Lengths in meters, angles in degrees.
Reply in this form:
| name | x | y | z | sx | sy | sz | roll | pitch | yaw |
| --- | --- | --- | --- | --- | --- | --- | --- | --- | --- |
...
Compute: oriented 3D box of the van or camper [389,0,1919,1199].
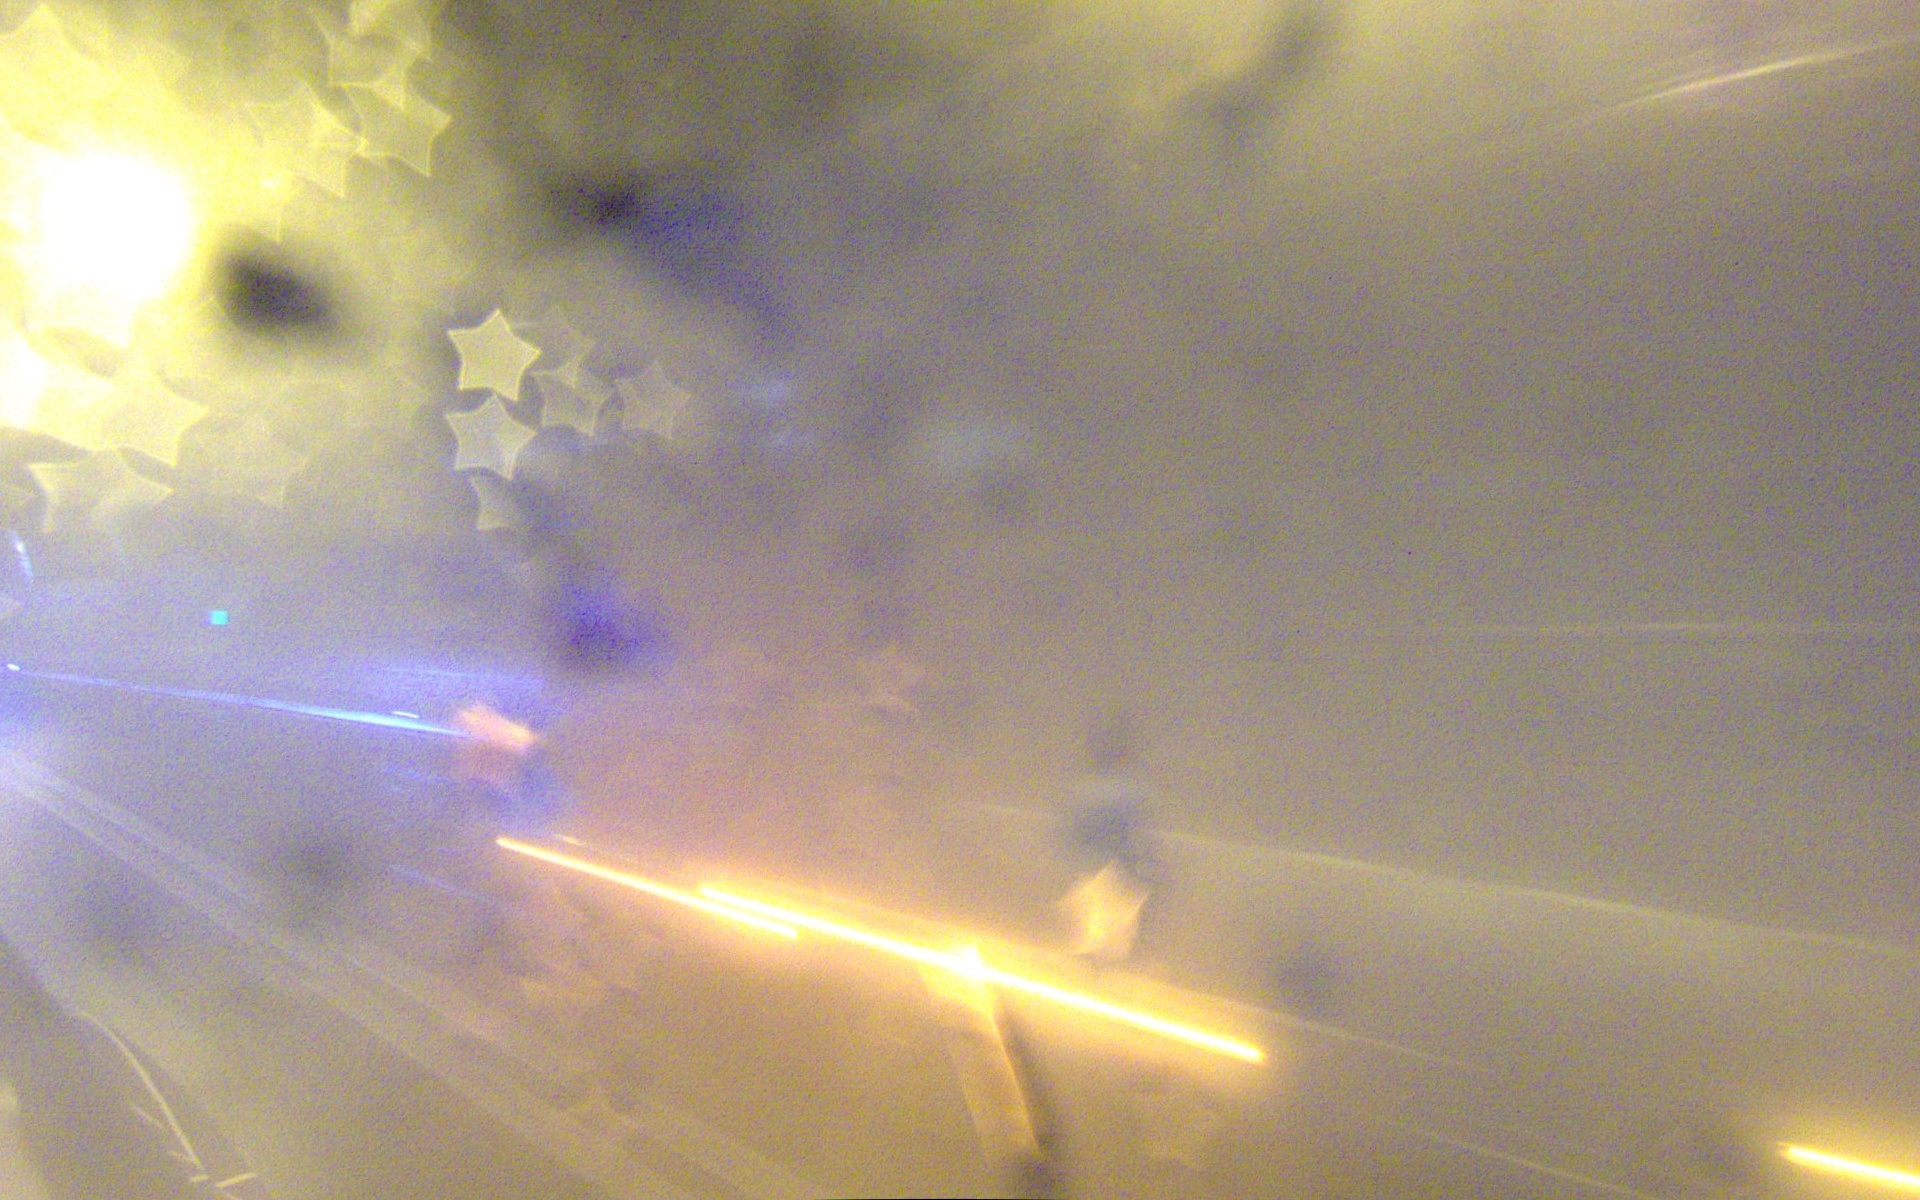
| name | x | y | z | sx | sy | sz | roll | pitch | yaw |
| --- | --- | --- | --- | --- | --- | --- | --- | --- | --- |
| van or camper | 0.556 | -0.121 | 3.482 | 6.677 | 2.905 | 2.388 | -1 | 0 | 42 |
